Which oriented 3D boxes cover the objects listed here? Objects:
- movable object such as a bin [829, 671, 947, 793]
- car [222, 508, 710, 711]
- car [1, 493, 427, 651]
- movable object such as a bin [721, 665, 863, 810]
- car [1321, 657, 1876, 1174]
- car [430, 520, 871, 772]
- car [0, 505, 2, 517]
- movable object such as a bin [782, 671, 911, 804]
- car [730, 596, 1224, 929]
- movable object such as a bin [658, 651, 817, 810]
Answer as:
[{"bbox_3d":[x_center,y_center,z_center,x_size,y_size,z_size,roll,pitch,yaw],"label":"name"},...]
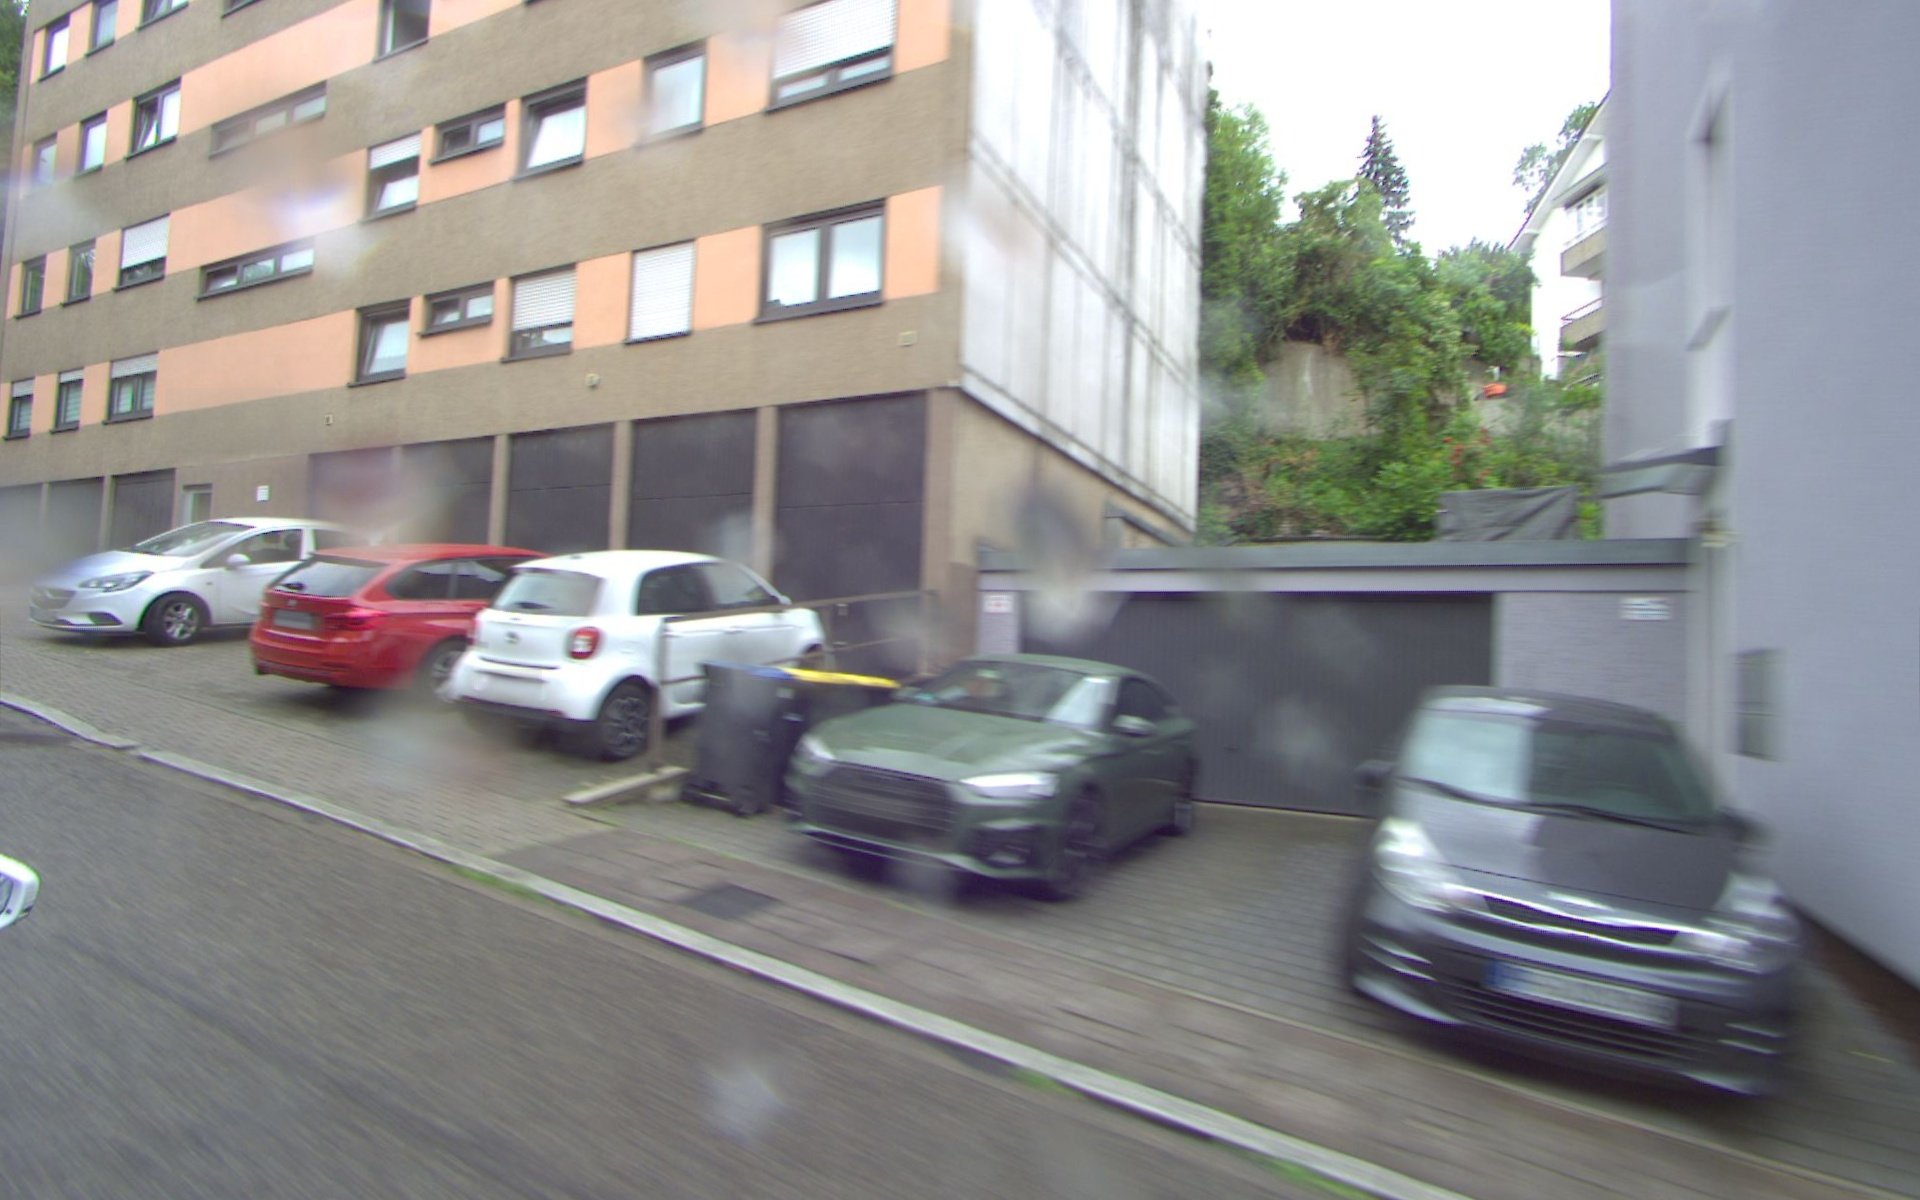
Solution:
[{"bbox_3d":[-0.674,1.245,9.576,0.758,1.032,0.725,5,-4,27],"label":"movable object such as a bin"},{"bbox_3d":[-4.833,-0.014,10.552,1.843,1.552,4.341,7,5,26],"label":"car"},{"bbox_3d":[-9.073,-0.333,12.637,1.662,1.551,3.966,7,3,24],"label":"car"},{"bbox_3d":[-1.353,1.106,8.195,0.758,1.032,0.725,5,-4,27],"label":"movable object such as a bin"},{"bbox_3d":[3.143,1.248,5.527,1.631,1.568,3.813,7,-1,26],"label":"car"},{"bbox_3d":[-2.617,0.289,9.407,1.698,1.726,3.828,7,4,26],"label":"car"},{"bbox_3d":[-21.608,-1.593,19.296,1.729,1.511,4.217,7,-5,25],"label":"car"},{"bbox_3d":[-0.992,1.199,8.871,0.758,1.032,0.725,5,-4,27],"label":"movable object such as a bin"},{"bbox_3d":[0.496,1.000,7.385,1.860,1.483,4.281,7,-2,26],"label":"car"},{"bbox_3d":[-1.638,0.954,7.466,0.758,1.032,0.725,5,-4,27],"label":"movable object such as a bin"}]
